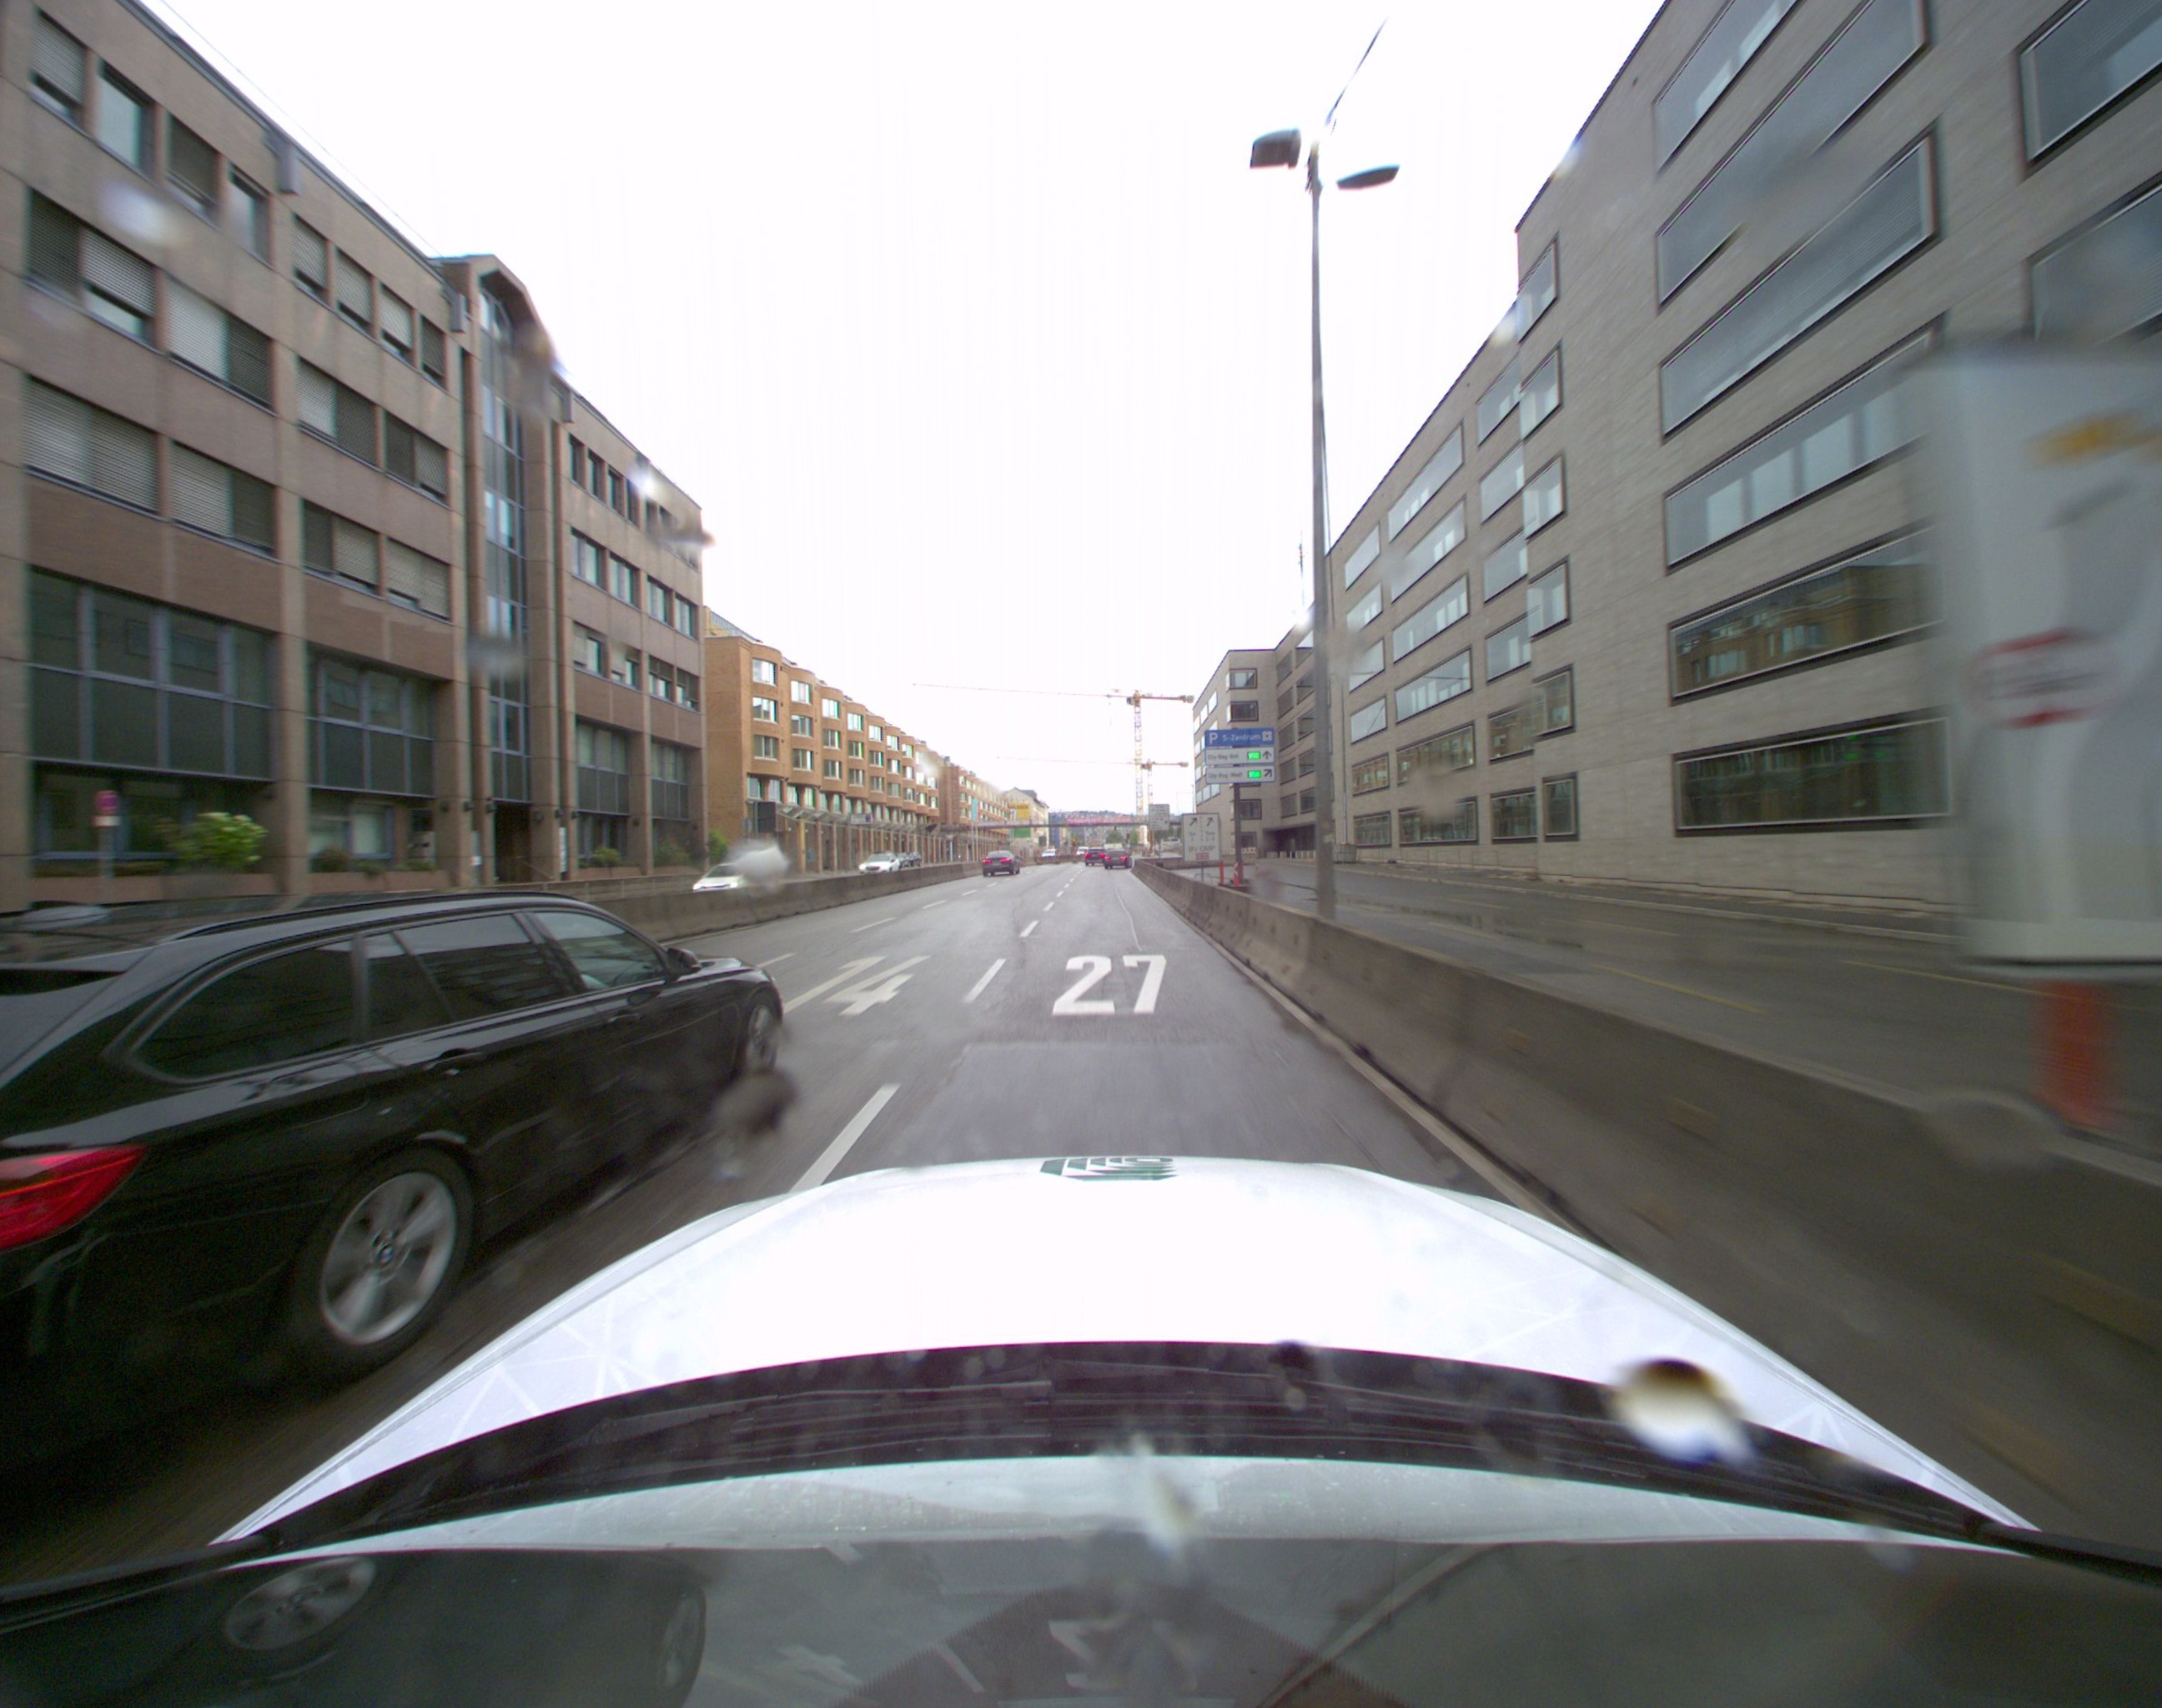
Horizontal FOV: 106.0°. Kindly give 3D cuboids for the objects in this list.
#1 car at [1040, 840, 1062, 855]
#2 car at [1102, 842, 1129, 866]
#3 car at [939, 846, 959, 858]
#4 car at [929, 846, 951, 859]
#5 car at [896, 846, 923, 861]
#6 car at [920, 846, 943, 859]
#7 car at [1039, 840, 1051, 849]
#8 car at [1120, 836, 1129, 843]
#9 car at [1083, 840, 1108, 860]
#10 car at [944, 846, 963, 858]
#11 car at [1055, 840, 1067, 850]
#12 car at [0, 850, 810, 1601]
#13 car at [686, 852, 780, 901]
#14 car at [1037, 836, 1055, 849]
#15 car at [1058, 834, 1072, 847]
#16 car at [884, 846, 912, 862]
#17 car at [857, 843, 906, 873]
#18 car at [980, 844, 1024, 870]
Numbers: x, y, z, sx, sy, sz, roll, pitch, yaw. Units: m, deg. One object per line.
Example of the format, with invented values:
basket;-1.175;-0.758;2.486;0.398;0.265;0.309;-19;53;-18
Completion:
car;-3.513;-0.757;96.554;1.985;1.620;4.768;-3;0;4
car;2.660;-0.019;62.165;1.892;1.693;4.004;-3;0;3
car;-19.176;-0.306;118.409;1.986;1.620;4.692;-3;0;2
car;-19.400;-0.245;112.439;1.986;1.620;4.692;-3;0;2
car;-20.022;-0.069;95.214;1.986;1.620;4.320;-3;0;2
car;-19.634;-0.189;107.170;1.986;1.620;4.320;-3;0;2
car;-6.868;-1.725;155.158;1.986;1.620;4.765;-3;0;2
car;10.053;-3.355;188.394;1.891;1.693;4.005;-3;0;4
car;1.361;-0.392;74.091;1.891;1.693;4.005;-3;0;4
car;-19.502;-0.345;124.617;1.986;1.620;4.692;-3;0;2
car;-4.231;-1.912;172.051;1.985;2.013;4.003;-3;0;3
car;-2.943;0.723;3.664;1.785;1.426;4.614;-1;0;1
car;-12.239;0.745;28.893;1.597;1.442;3.659;-3;2;1
car;-4.600;-1.494;108.211;1.986;1.620;4.765;-3;0;2
car;-2.499;-2.107;128.702;1.986;1.826;4.765;-3;0;2
car;-20.283;-0.015;90.345;1.986;1.620;4.320;-3;0;2
car;-12.418;0.234;50.930;1.813;1.618;4.194;-3;2;2
car;-4.679;0.139;48.728;1.782;1.426;4.391;-3;0;5
